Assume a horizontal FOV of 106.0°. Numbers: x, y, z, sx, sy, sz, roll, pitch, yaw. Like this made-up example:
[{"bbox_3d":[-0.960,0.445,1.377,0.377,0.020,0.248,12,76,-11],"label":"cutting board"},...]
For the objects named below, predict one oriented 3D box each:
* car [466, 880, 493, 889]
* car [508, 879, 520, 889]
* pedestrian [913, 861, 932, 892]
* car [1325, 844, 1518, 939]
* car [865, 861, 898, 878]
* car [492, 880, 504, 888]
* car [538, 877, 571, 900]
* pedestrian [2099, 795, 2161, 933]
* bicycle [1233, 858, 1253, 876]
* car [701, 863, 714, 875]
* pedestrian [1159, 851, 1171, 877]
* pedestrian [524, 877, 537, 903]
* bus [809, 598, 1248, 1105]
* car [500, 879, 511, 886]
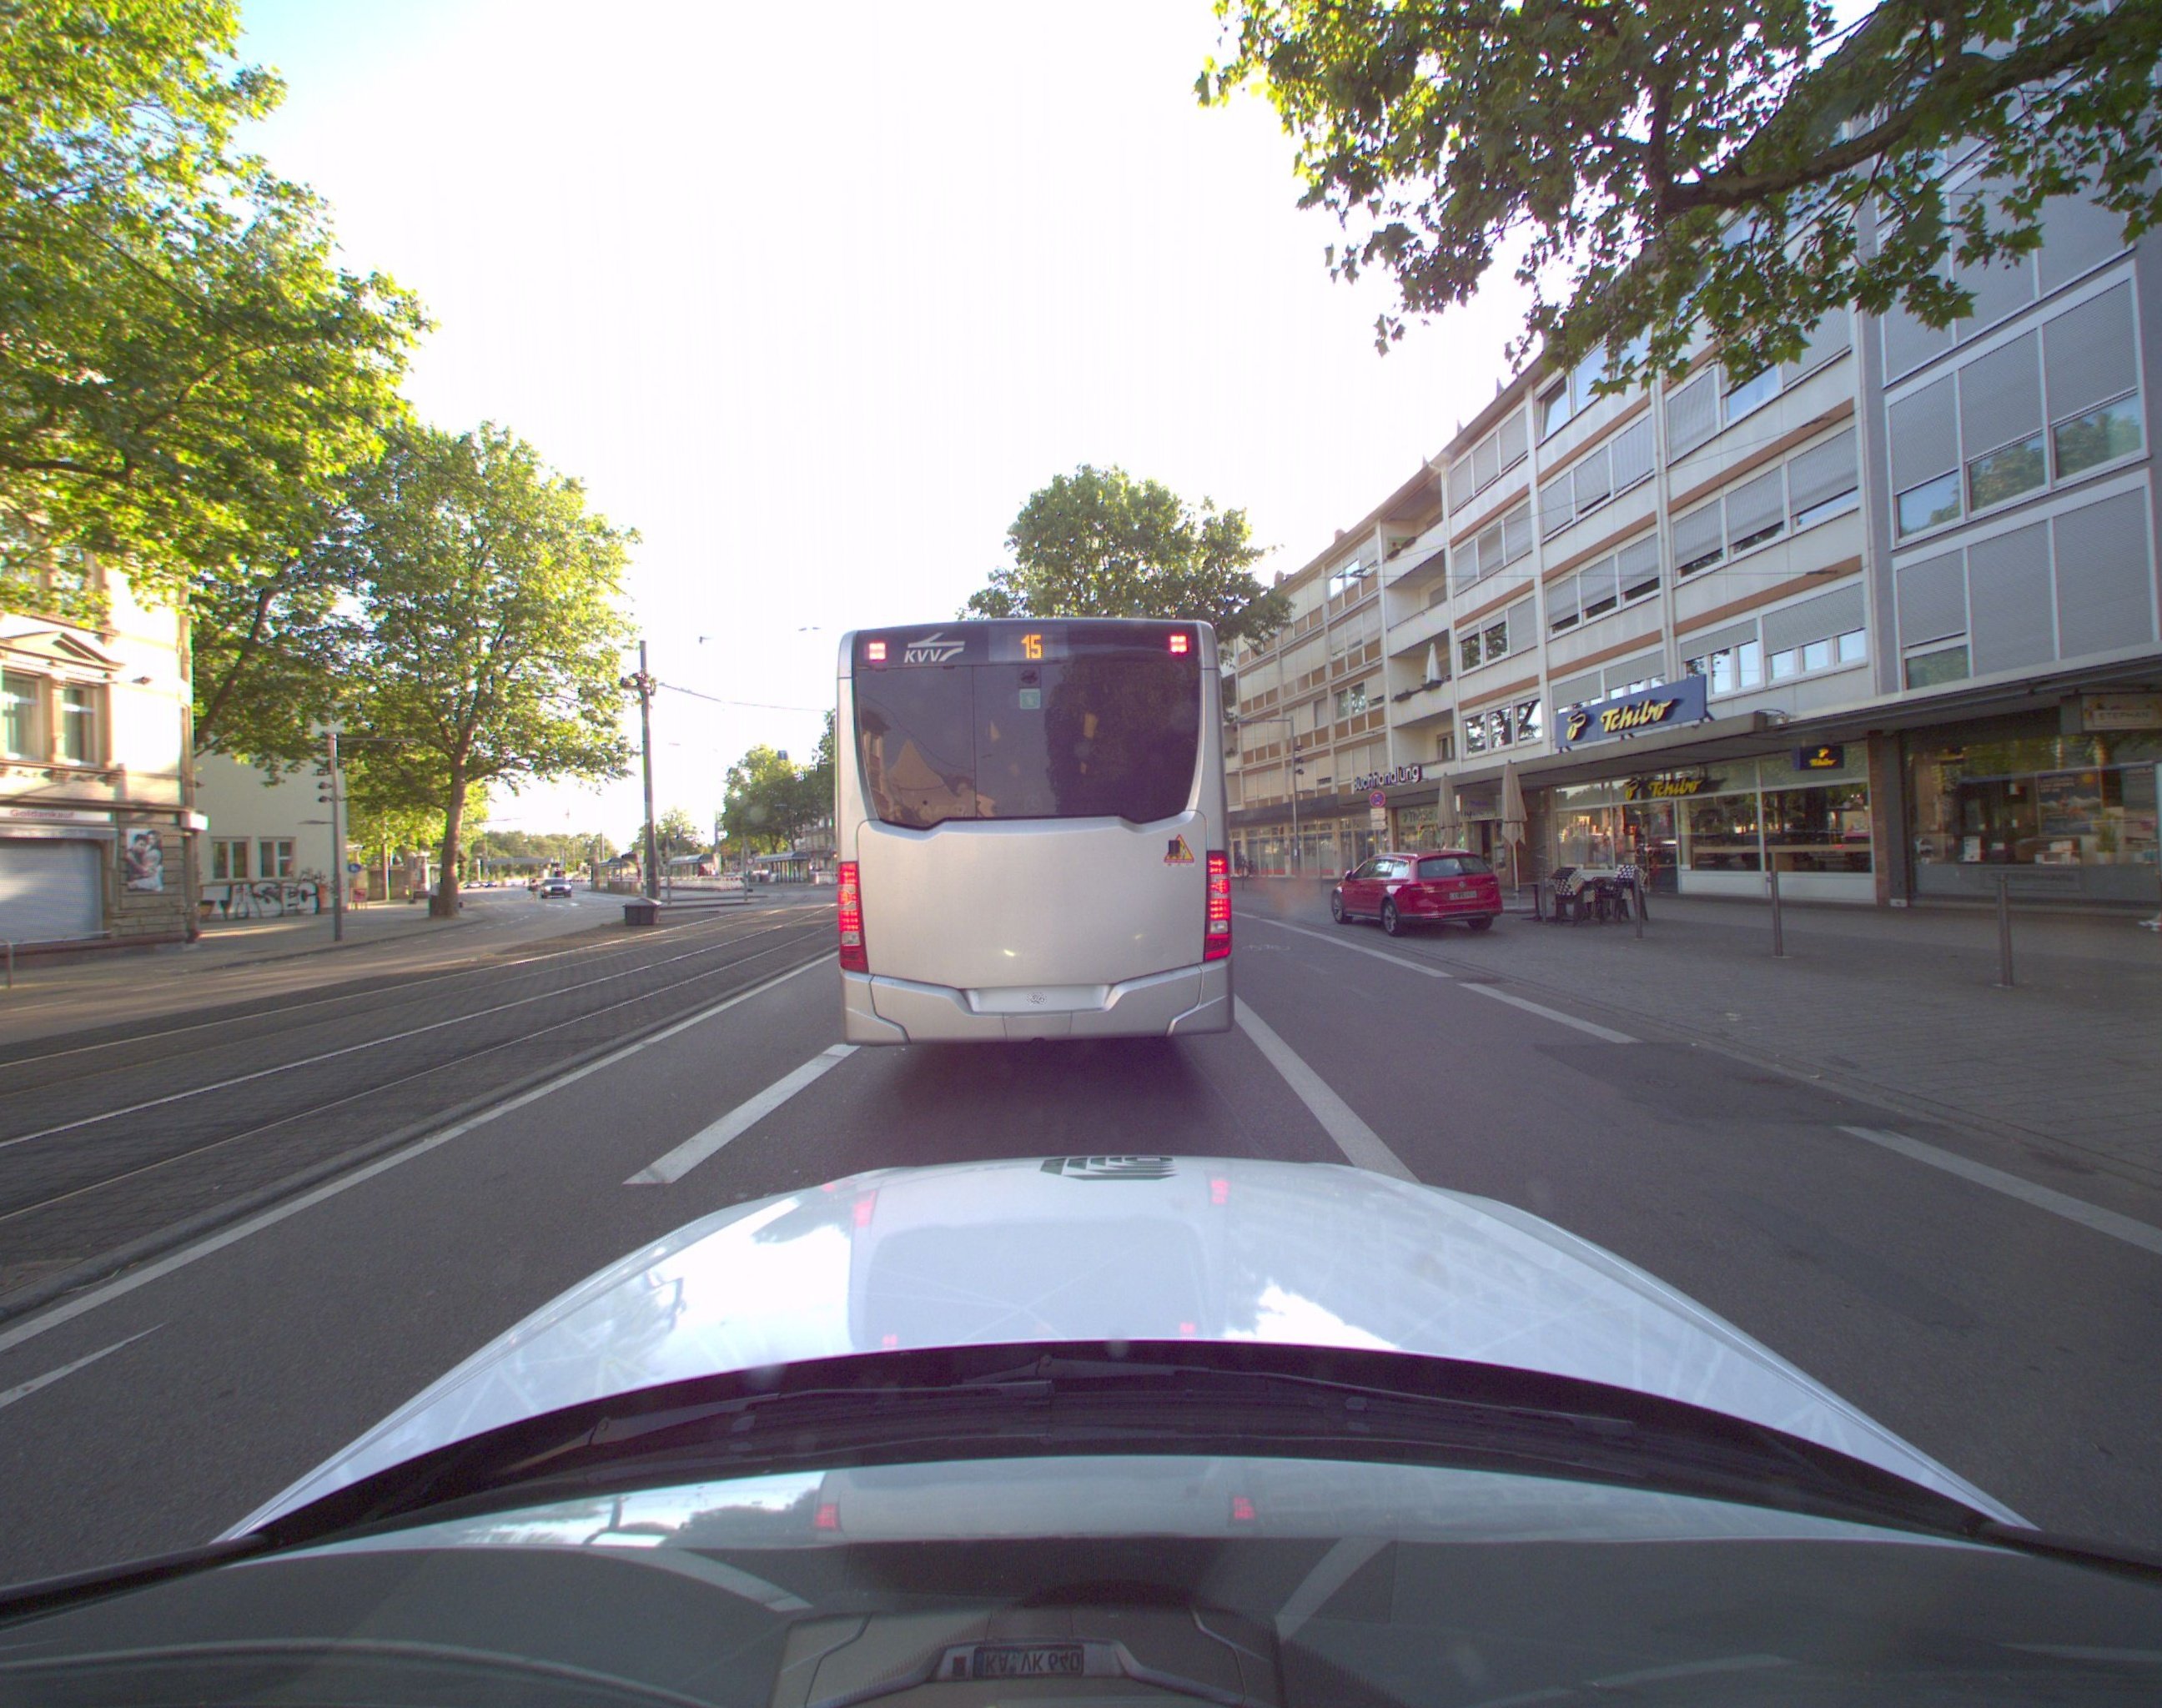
[{"bbox_3d":[-122.683,6.300,166.121,1.768,1.640,4.024,-3,-1,44],"label":"car"},{"bbox_3d":[-111.462,5.877,159.999,1.858,1.684,3.677,-4,1,-35],"label":"car"},{"bbox_3d":[-8.850,1.248,45.481,0.994,1.686,0.642,-1,-2,-10],"label":"pedestrian"},{"bbox_3d":[6.373,0.638,15.823,1.765,1.482,4.300,-3,0,-2],"label":"car"},{"bbox_3d":[-21.750,1.689,88.743,2.010,1.792,3.954,0,-1,-39],"label":"car"},{"bbox_3d":[-117.844,6.064,164.658,1.858,1.684,3.676,-2,-1,-35],"label":"car"},{"bbox_3d":[-40.015,2.599,61.938,2.008,1.640,3.958,-2,-1,-33],"label":"car"},{"bbox_3d":[12.852,0.105,9.584,0.649,1.592,0.788,-4,-1,-4],"label":"pedestrian"},{"bbox_3d":[9.136,0.727,45.855,0.413,0.945,1.431,-2,-1,-18],"label":"bicycle"},{"bbox_3d":[-66.695,2.742,145.266,1.629,2.014,3.080,-2,-1,-32],"label":"car"},{"bbox_3d":[5.610,0.673,54.384,0.536,1.648,0.612,-2,-1,-15],"label":"pedestrian"},{"bbox_3d":[-36.217,2.348,53.588,0.661,1.656,0.438,-2,-1,-41],"label":"pedestrian"},{"bbox_3d":[-0.173,0.014,9.939,2.621,3.028,10.000,-1,0,2],"label":"bus"},{"bbox_3d":[-130.110,6.449,184.176,1.858,1.684,3.676,-2,-1,-35],"label":"car"}]
